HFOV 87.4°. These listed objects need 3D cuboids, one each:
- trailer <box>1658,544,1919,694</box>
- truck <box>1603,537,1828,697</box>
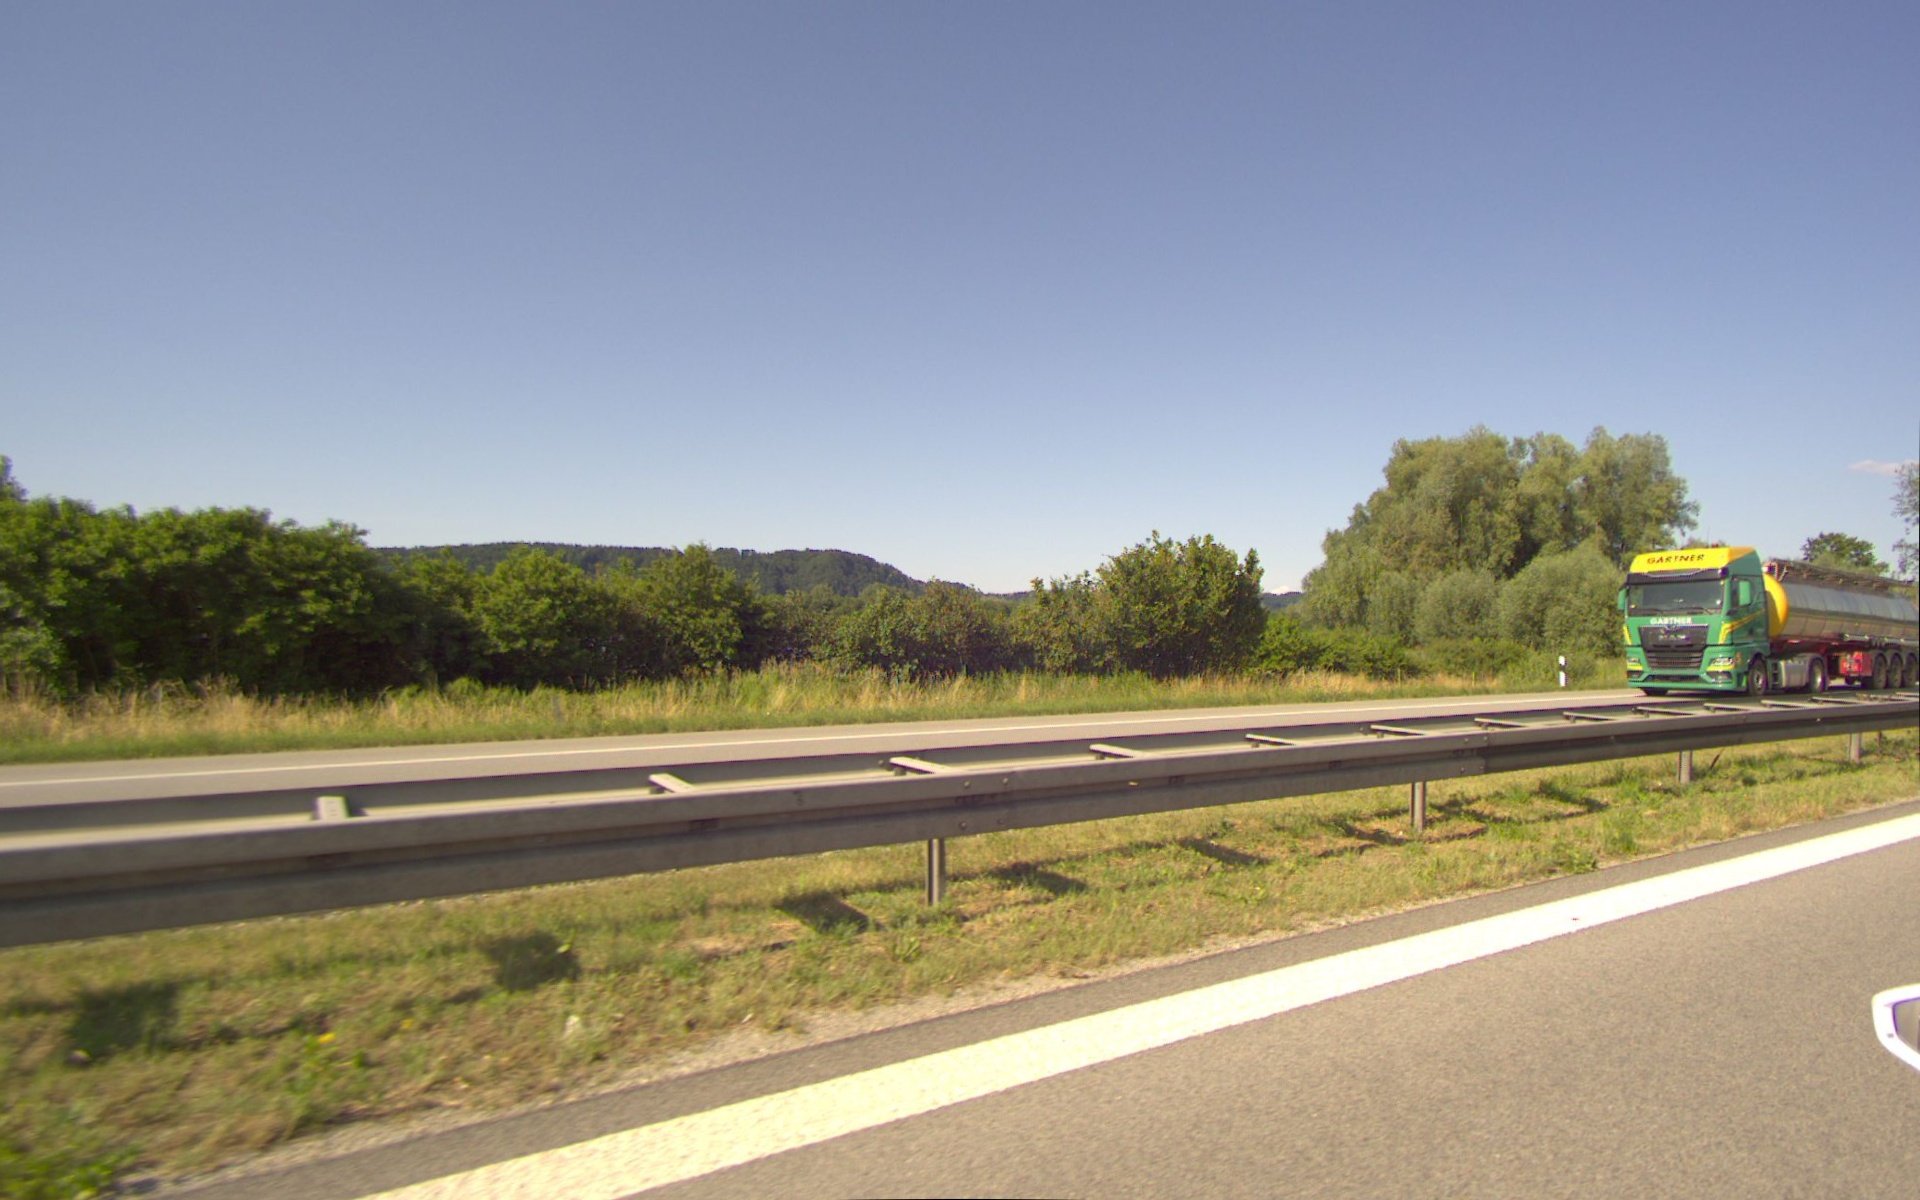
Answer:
[{"bbox_3d":[25.402,0.684,29.859,12.279,3.780,2.965,2,-2,-32],"label":"trailer"},{"bbox_3d":[19.904,0.506,26.449,5.506,3.780,2.940,2,-2,-32],"label":"truck"}]
